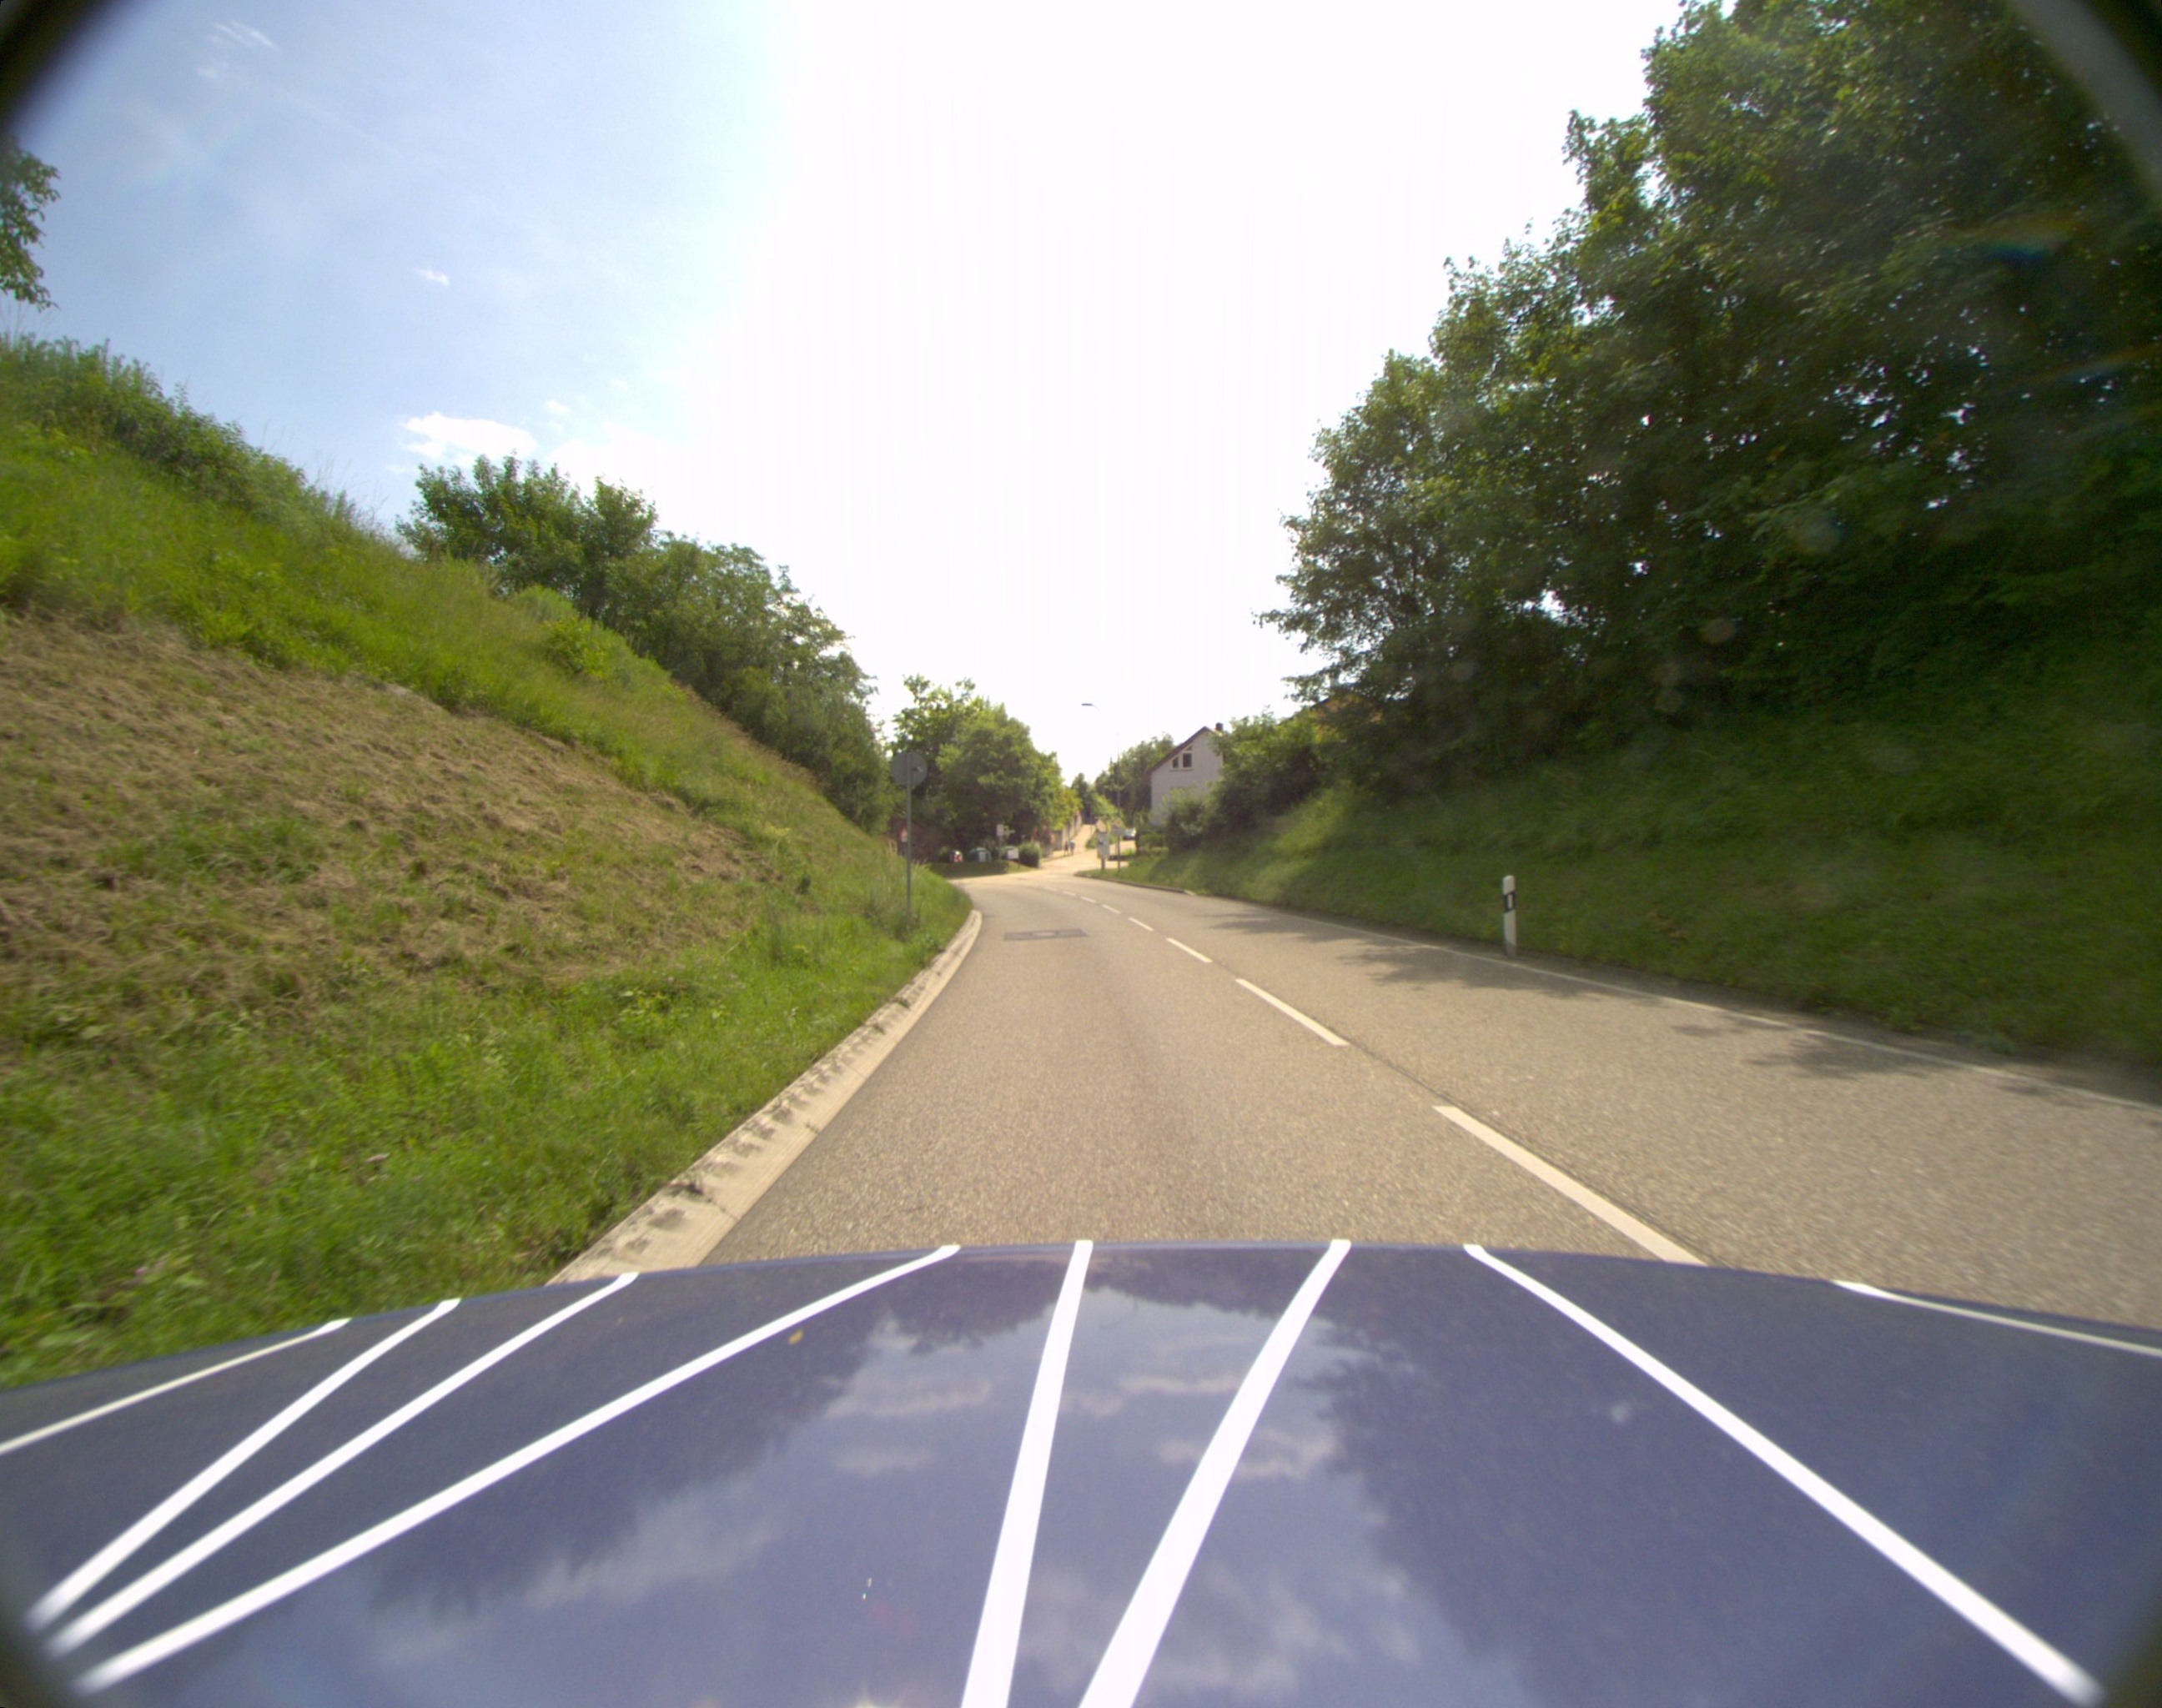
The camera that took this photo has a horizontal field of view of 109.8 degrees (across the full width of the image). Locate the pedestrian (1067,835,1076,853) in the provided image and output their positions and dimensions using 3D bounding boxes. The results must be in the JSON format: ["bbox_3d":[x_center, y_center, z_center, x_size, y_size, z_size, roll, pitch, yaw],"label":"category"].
[{"bbox_3d":[-0.957,-1.021,75.440,0.686,1.703,0.790,-4,3,6],"label":"pedestrian"}]

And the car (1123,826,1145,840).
[{"bbox_3d":[7.160,-2.842,102.876,1.856,1.634,4.387,-4,1,-10],"label":"car"}]

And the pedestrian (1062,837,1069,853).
[{"bbox_3d":[-1.526,-0.899,75.372,0.573,1.546,0.599,-4,3,6],"label":"pedestrian"}]
